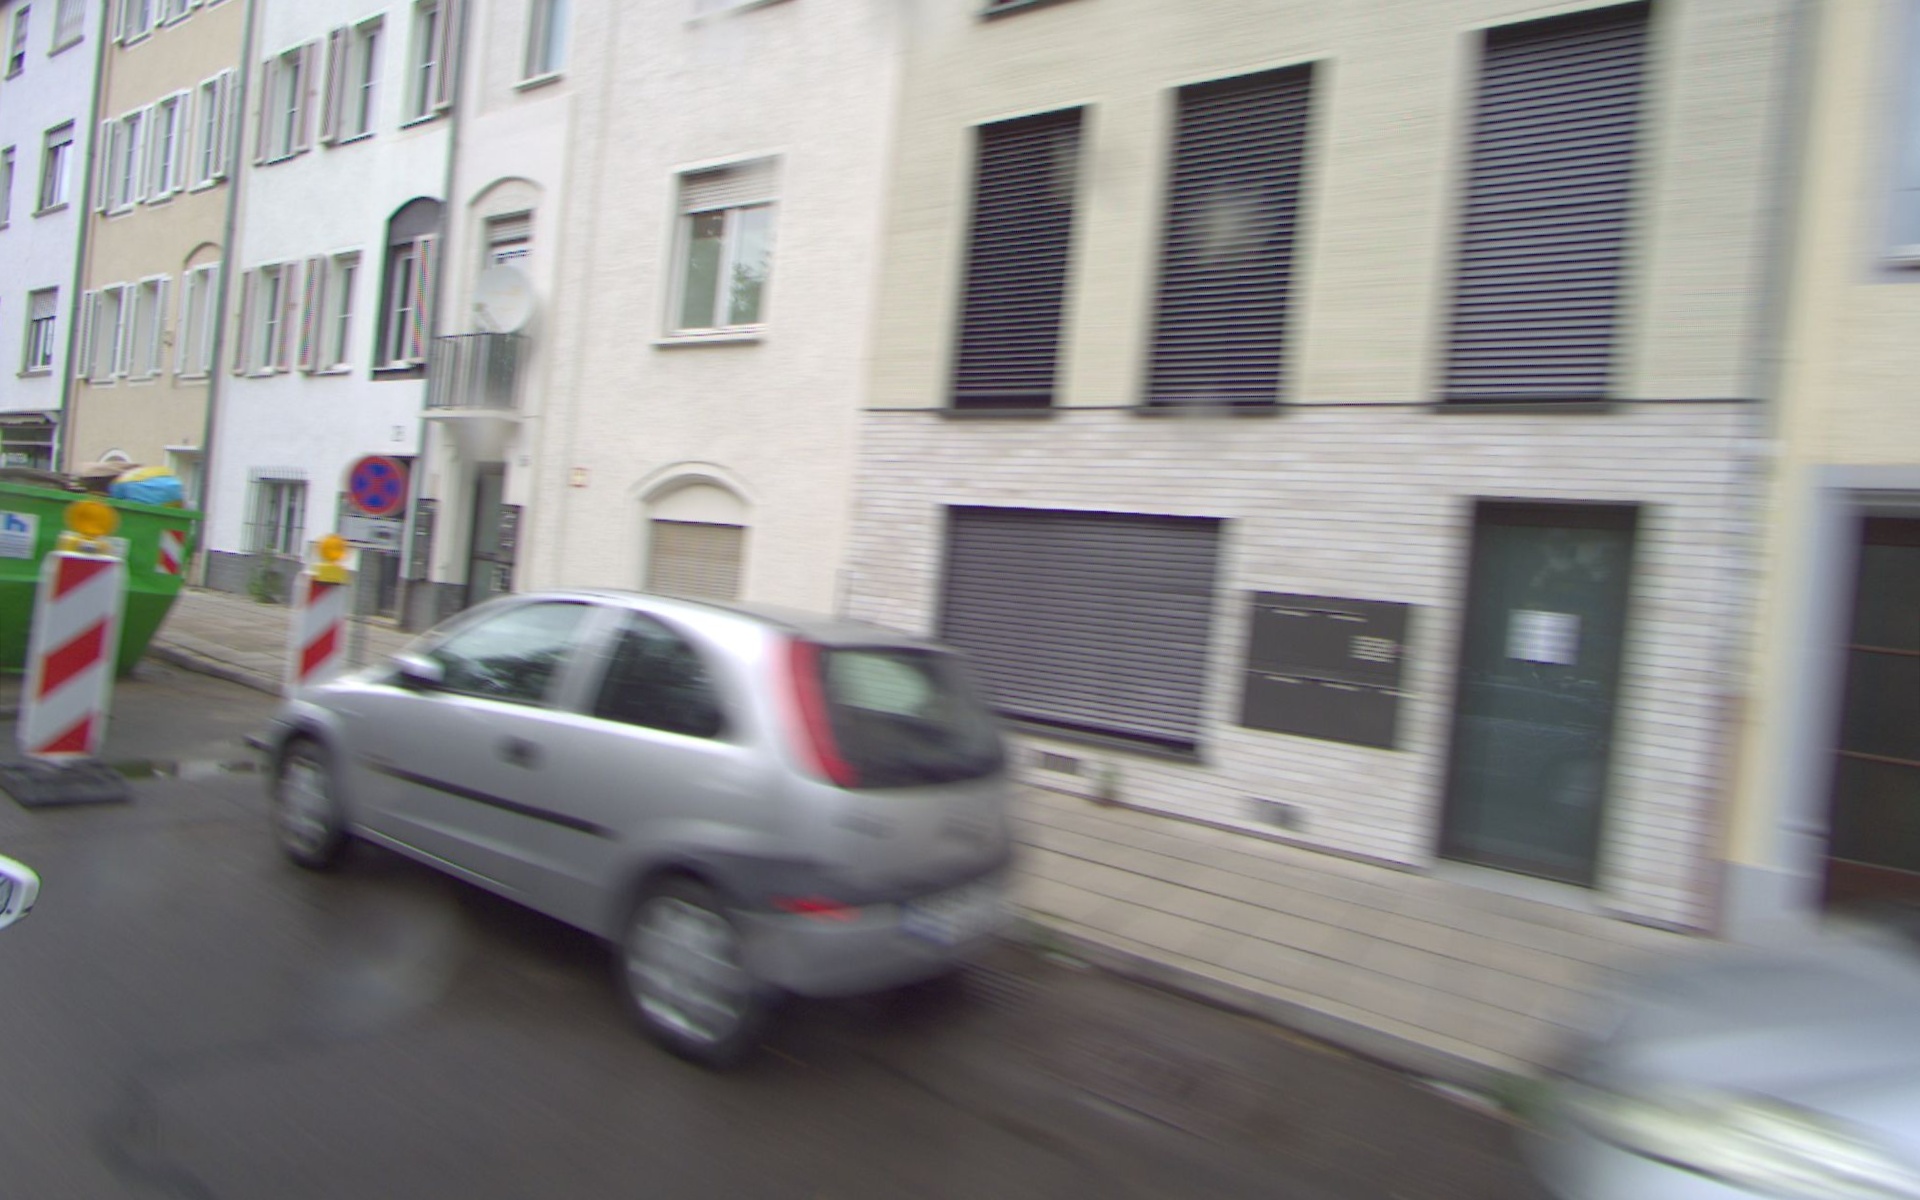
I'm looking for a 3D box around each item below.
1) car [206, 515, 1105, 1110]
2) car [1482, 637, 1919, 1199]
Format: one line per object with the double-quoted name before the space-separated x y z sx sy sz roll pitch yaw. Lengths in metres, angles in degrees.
"car" -1.495 0.582 4.481 3.778 1.427 1.629 7 -1 32
"car" 3.128 1.128 1.621 3.933 1.542 1.720 7 -1 31
